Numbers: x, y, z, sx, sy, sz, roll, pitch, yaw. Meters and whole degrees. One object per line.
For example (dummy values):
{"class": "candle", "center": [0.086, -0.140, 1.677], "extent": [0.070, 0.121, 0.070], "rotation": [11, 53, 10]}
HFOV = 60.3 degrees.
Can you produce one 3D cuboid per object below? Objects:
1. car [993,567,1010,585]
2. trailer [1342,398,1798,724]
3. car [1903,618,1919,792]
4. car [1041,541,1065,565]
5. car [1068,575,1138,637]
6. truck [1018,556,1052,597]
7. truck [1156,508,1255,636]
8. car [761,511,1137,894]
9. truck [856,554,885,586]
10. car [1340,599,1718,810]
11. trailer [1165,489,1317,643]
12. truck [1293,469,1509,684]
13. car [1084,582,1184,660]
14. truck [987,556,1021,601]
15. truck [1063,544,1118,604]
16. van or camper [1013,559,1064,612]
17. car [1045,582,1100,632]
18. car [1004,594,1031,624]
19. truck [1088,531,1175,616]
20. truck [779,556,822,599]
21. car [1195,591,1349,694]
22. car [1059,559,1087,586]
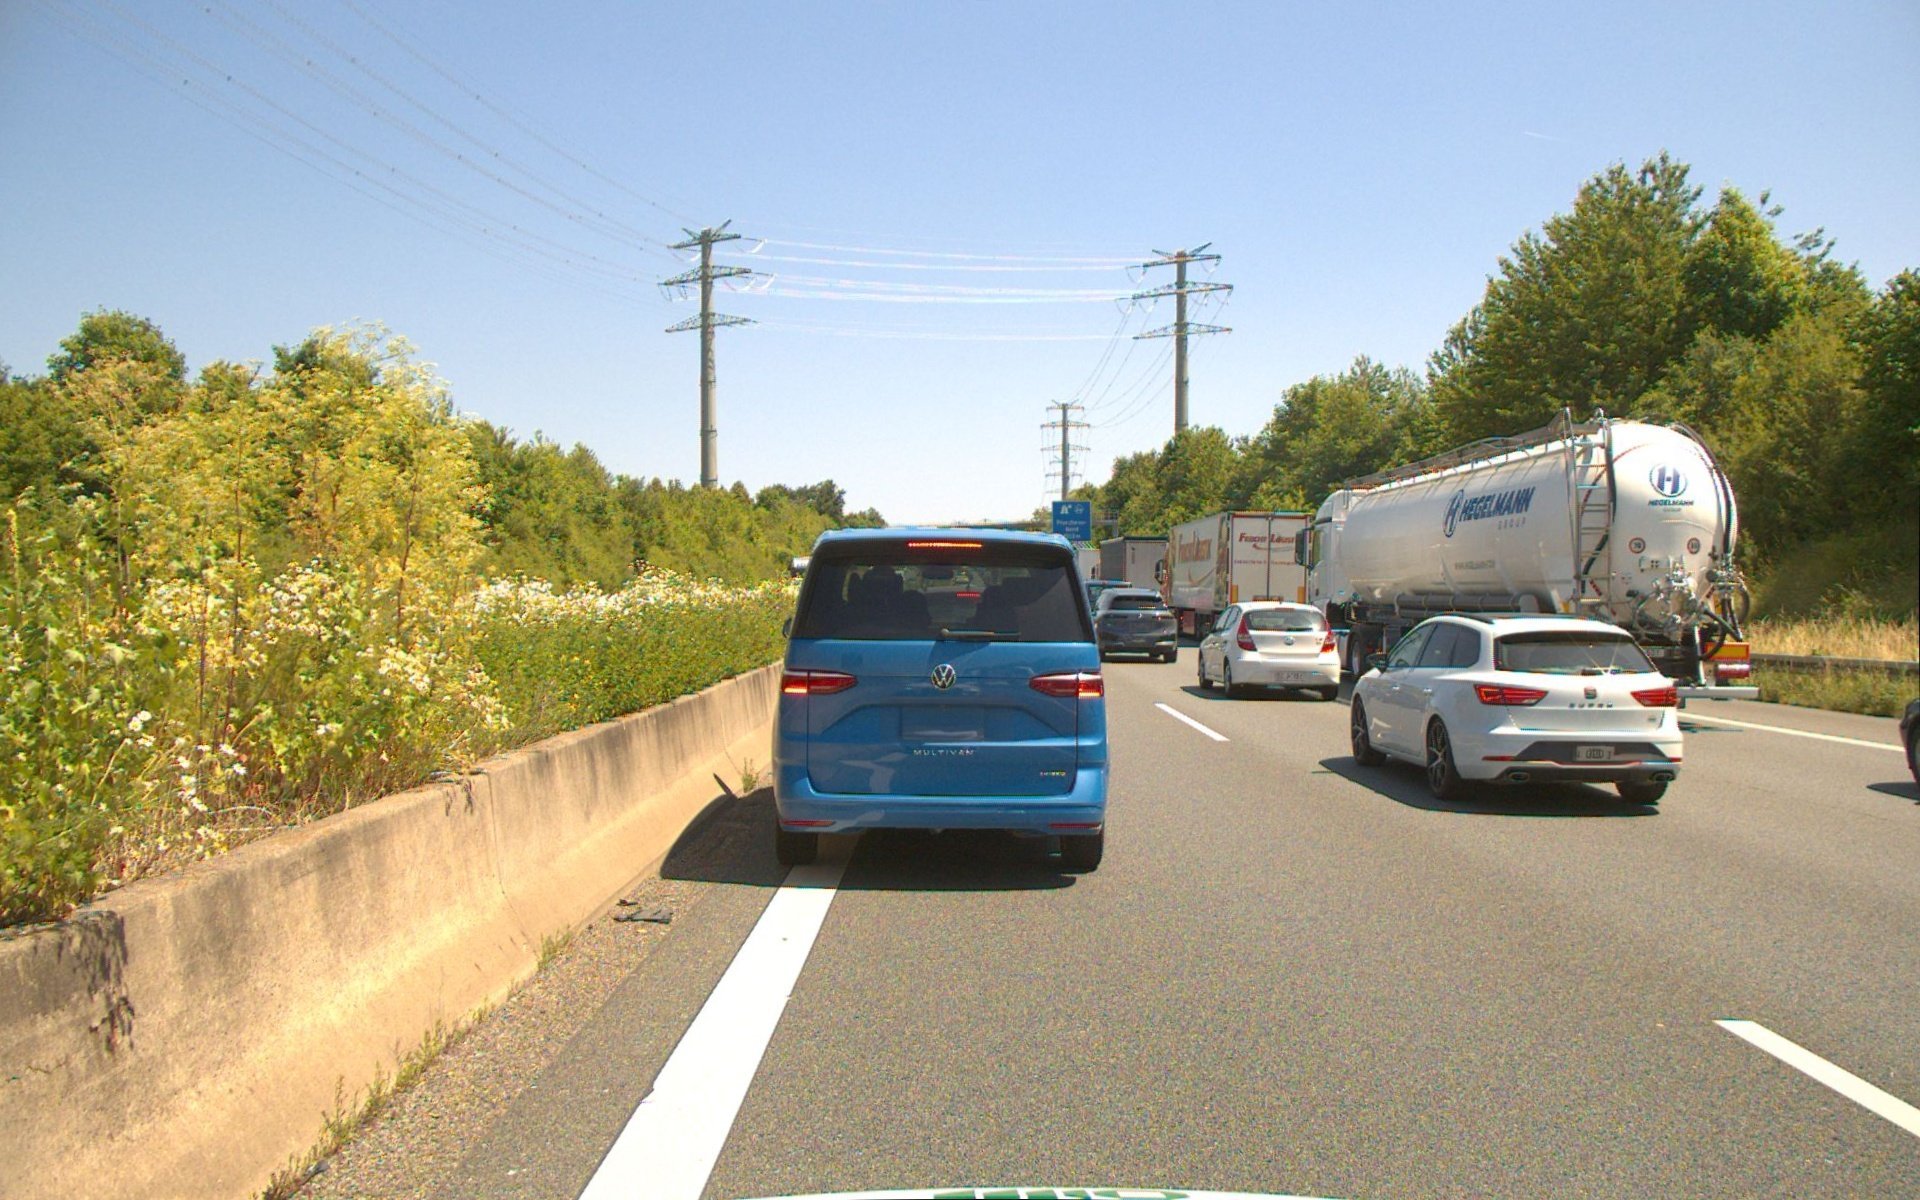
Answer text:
{"class": "car", "center": [5.256, -3.038, 209.381], "extent": [1.953, 2.163, 3.999], "rotation": [0, 0, -1]}
{"class": "trailer", "center": [8.703, -0.467, 25.734], "extent": [2.705, 3.912, 11.484], "rotation": [-1, 0, -1]}
{"class": "car", "center": [8.707, 0.822, 11.855], "extent": [1.607, 1.441, 3.989], "rotation": [-2, -1, 0]}
{"class": "car", "center": [8.516, -4.269, 151.342], "extent": [1.953, 2.049, 4.000], "rotation": [0, 0, 0]}
{"class": "car", "center": [4.834, 0.223, 56.474], "extent": [1.884, 1.959, 4.234], "rotation": [-2, -1, -1]}
{"class": "truck", "center": [8.826, -2.726, 196.584], "extent": [3.493, 4.596, 10.291], "rotation": [0, 0, -1]}
{"class": "truck", "center": [9.120, -0.999, 62.018], "extent": [2.853, 4.547, 5.141], "rotation": [-1, 0, -1]}
{"class": "car", "center": [-0.053, 0.511, 10.380], "extent": [1.881, 1.919, 4.000], "rotation": [1, 0, 0]}
{"class": "truck", "center": [-11.565, -3.845, 215.438], "extent": [3.107, 3.886, 11.943], "rotation": [1, 0, 0]}
{"class": "car", "center": [4.530, 0.766, 13.888], "extent": [1.712, 1.468, 4.313], "rotation": [-1, -1, 1]}
{"class": "trailer", "center": [9.171, -1.011, 55.592], "extent": [2.853, 4.547, 12.152], "rotation": [-1, 0, -1]}
{"class": "truck", "center": [8.644, -0.430, 33.100], "extent": [2.736, 3.903, 5.571], "rotation": [-1, 0, -1]}
{"class": "car", "center": [4.132, 0.501, 39.915], "extent": [1.958, 1.745, 4.625], "rotation": [-1, -1, 1]}
{"class": "truck", "center": [3.914, -1.883, 148.338], "extent": [2.836, 3.832, 10.140], "rotation": [0, 0, 1]}
{"class": "truck", "center": [8.927, -1.697, 114.526], "extent": [2.836, 3.832, 13.345], "rotation": [0, 0, 1]}
{"class": "van or camper", "center": [4.665, -0.845, 100.058], "extent": [2.896, 3.075, 7.103], "rotation": [0, 0, 1]}
{"class": "car", "center": [4.651, 0.302, 68.845], "extent": [1.884, 1.959, 4.234], "rotation": [-2, -1, -1]}
{"class": "car", "center": [4.009, 0.645, 115.186], "extent": [1.798, 2.033, 4.000], "rotation": [-1, -1, 1]}
{"class": "truck", "center": [8.423, -1.169, 83.361], "extent": [2.944, 3.832, 15.713], "rotation": [0, 0, 1]}
{"class": "truck", "center": [-15.219, -2.099, 158.750], "extent": [2.852, 3.886, 11.943], "rotation": [1, 0, 0]}
{"class": "car", "center": [4.960, 0.661, 26.783], "extent": [1.779, 1.511, 4.000], "rotation": [-1, -1, 1]}
{"class": "car", "center": [8.930, -2.158, 131.078], "extent": [1.953, 2.049, 4.000], "rotation": [0, 0, 0]}
